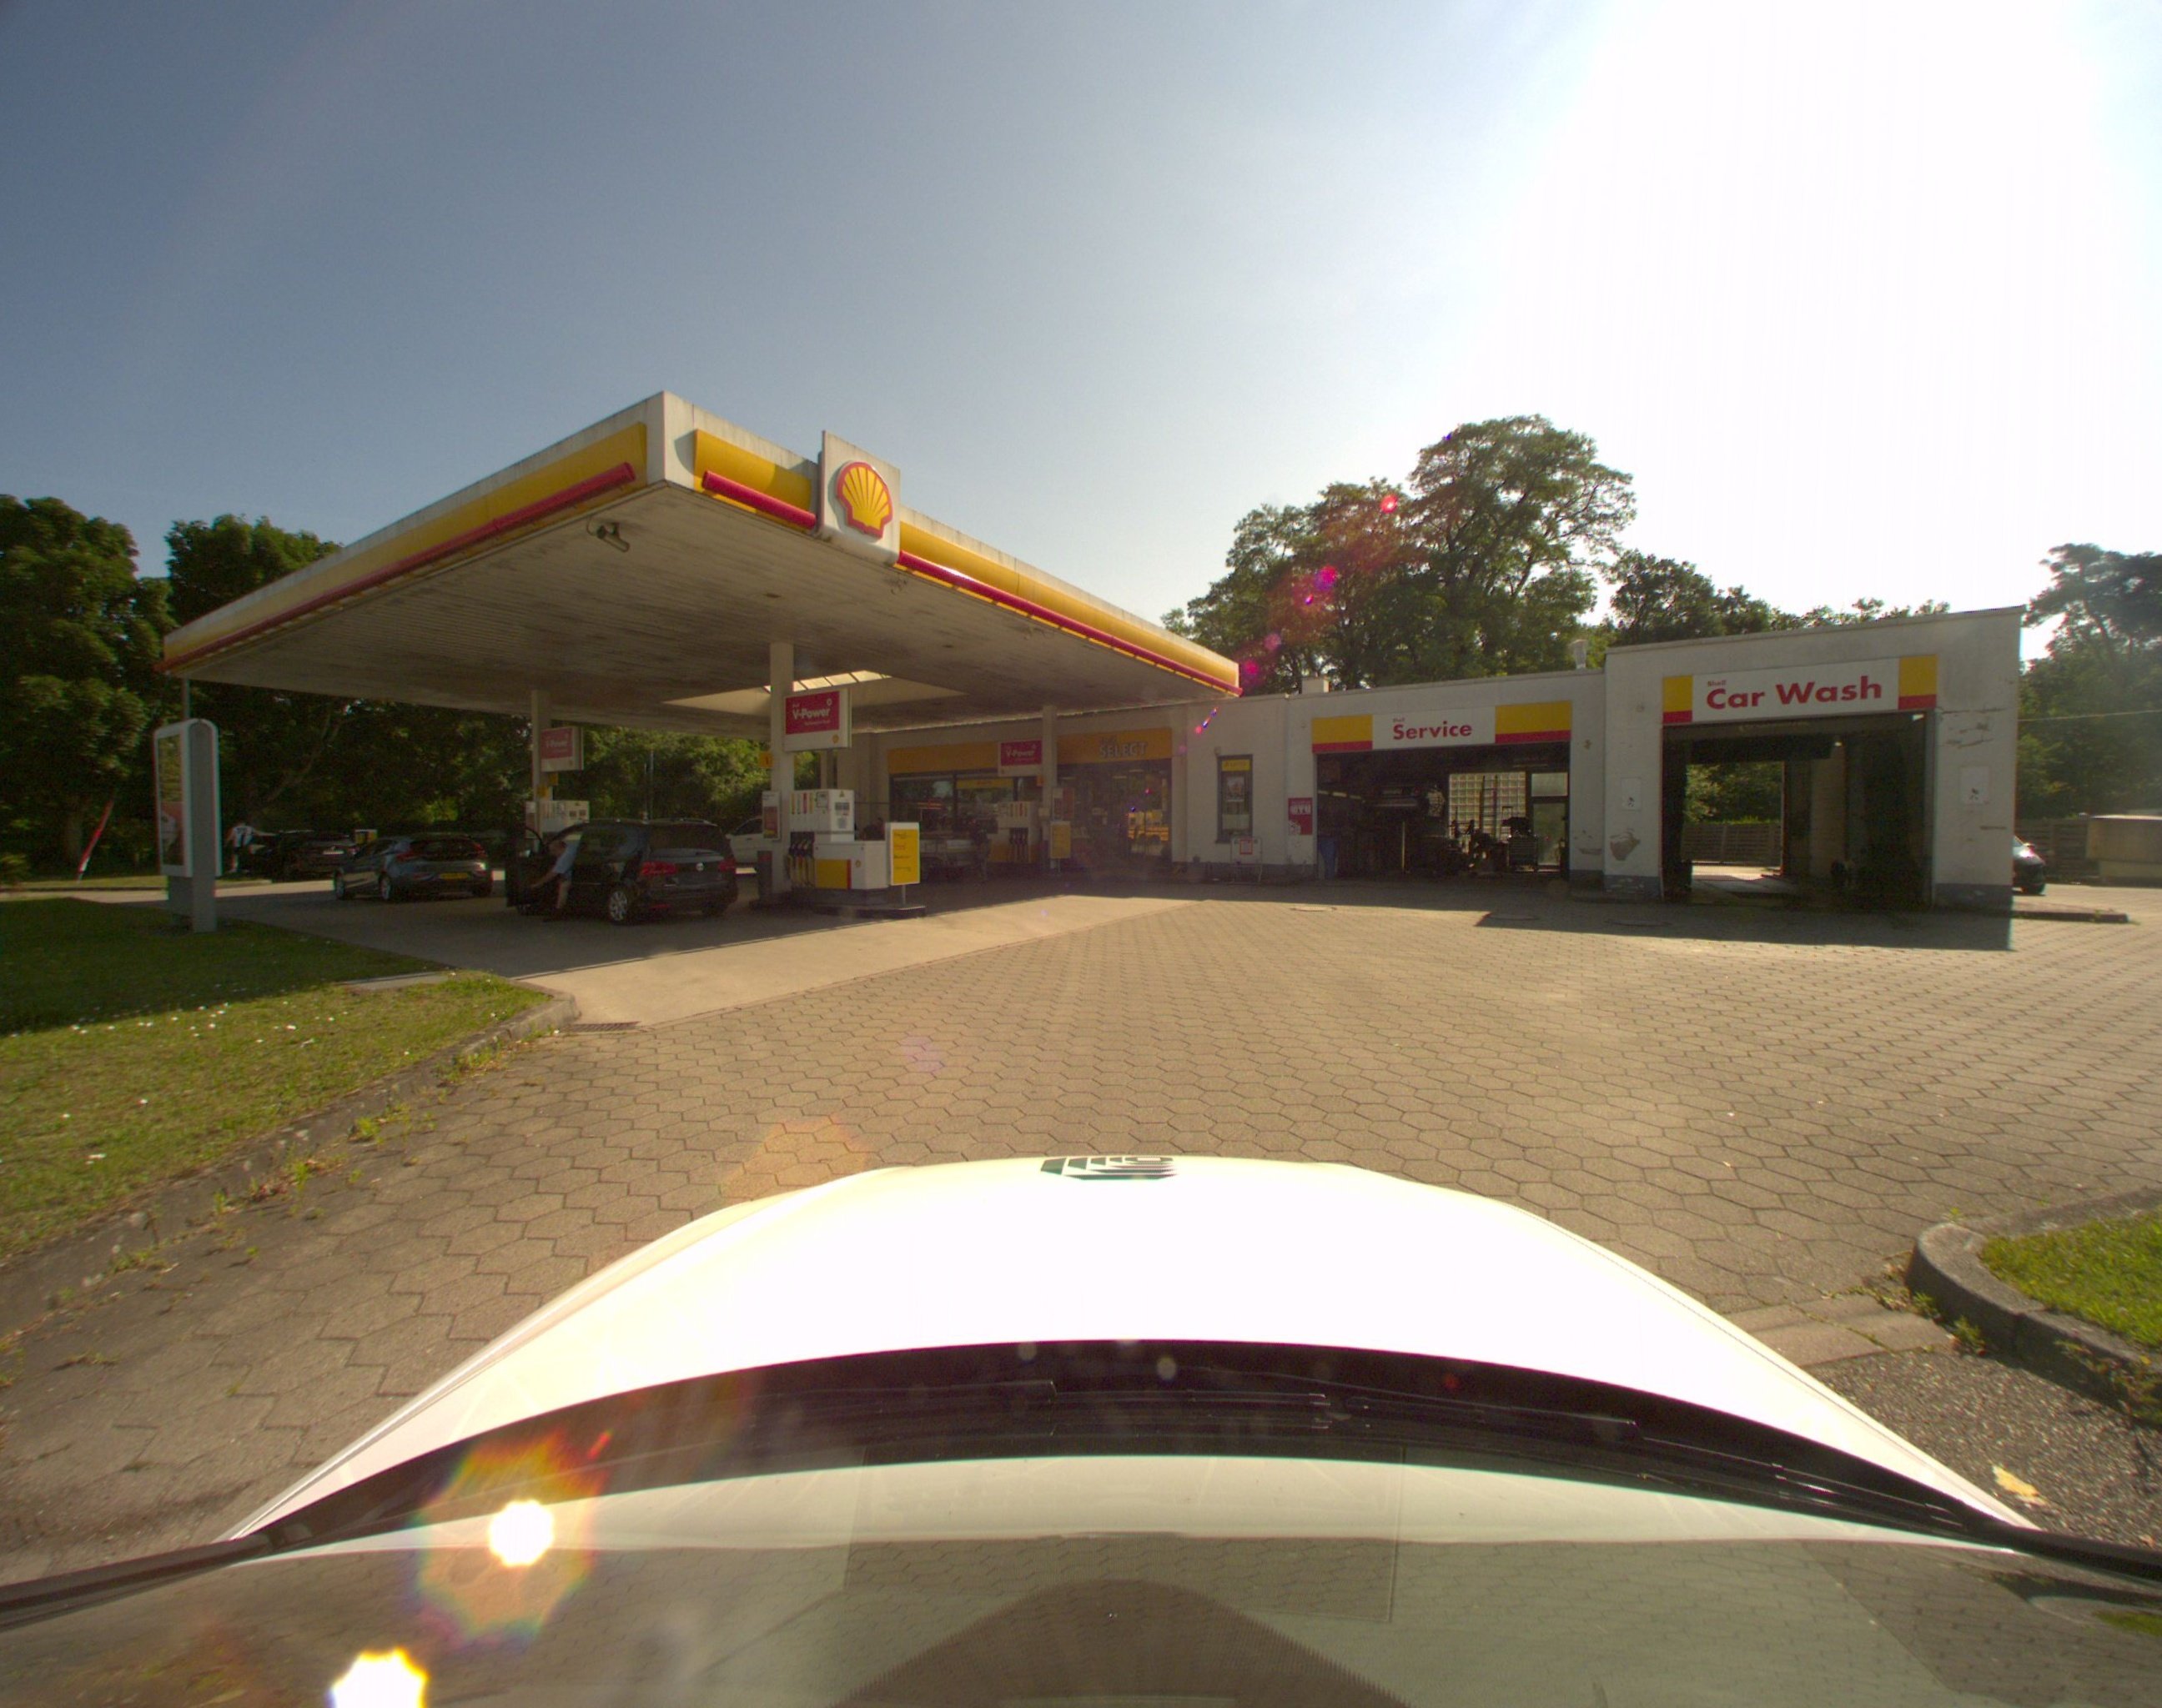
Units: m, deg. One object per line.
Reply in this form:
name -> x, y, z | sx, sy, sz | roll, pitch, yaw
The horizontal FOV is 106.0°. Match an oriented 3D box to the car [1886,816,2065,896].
car -> 19.413, 0.050, 17.862 | 1.704, 1.575, 3.413 | 0, 0, 31

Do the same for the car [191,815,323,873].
car -> -26.945, -0.315, 26.627 | 3.949, 1.766, 2.012 | 0, 0, 29

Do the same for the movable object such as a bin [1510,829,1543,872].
movable object such as a bin -> 12.948, -0.096, 23.650 | 0.789, 1.236, 0.548 | 0, -1, 34

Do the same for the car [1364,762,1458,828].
car -> 9.225, -1.558, 22.621 | 1.630, 1.486, 4.025 | 0, 0, 34

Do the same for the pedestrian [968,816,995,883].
pedestrian -> -2.496, -0.119, 20.444 | 0.494, 1.668, 0.479 | 1, 1, 33

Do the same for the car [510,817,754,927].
car -> -7.419, 0.211, 13.416 | 3.828, 1.578, 1.776 | 1, 2, 30

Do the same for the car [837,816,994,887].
car -> -4.412, -0.087, 21.529 | 3.948, 1.727, 1.845 | 0, 1, 36

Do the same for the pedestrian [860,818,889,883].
pedestrian -> -5.262, -0.104, 20.754 | 0.469, 1.631, 0.504 | 1, 1, 35

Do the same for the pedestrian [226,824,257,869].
pedestrian -> -29.185, -0.281, 28.312 | 0.388, 1.537, 0.682 | 1, 2, 36

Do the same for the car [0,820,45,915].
car -> -18.652, 0.223, 12.653 | 2.726, 1.530, 1.570 | 0, 0, -14

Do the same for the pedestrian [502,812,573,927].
pedestrian -> -8.482, 0.216, 12.719 | 0.801, 1.729, 0.678 | 1, 1, 37

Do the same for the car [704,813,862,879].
car -> -8.977, -0.273, 24.429 | 4.719, 1.837, 1.869 | 1, 2, 30

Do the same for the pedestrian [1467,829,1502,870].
pedestrian -> 11.819, -0.131, 23.854 | 0.855, 1.198, 0.747 | 0, -1, 31

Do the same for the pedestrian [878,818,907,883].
pedestrian -> -4.693, -0.087, 20.272 | 0.469, 1.593, 0.504 | 1, 1, 35

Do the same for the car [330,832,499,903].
car -> -14.391, 0.214, 17.552 | 3.798, 1.360, 1.815 | 1, 2, 35
